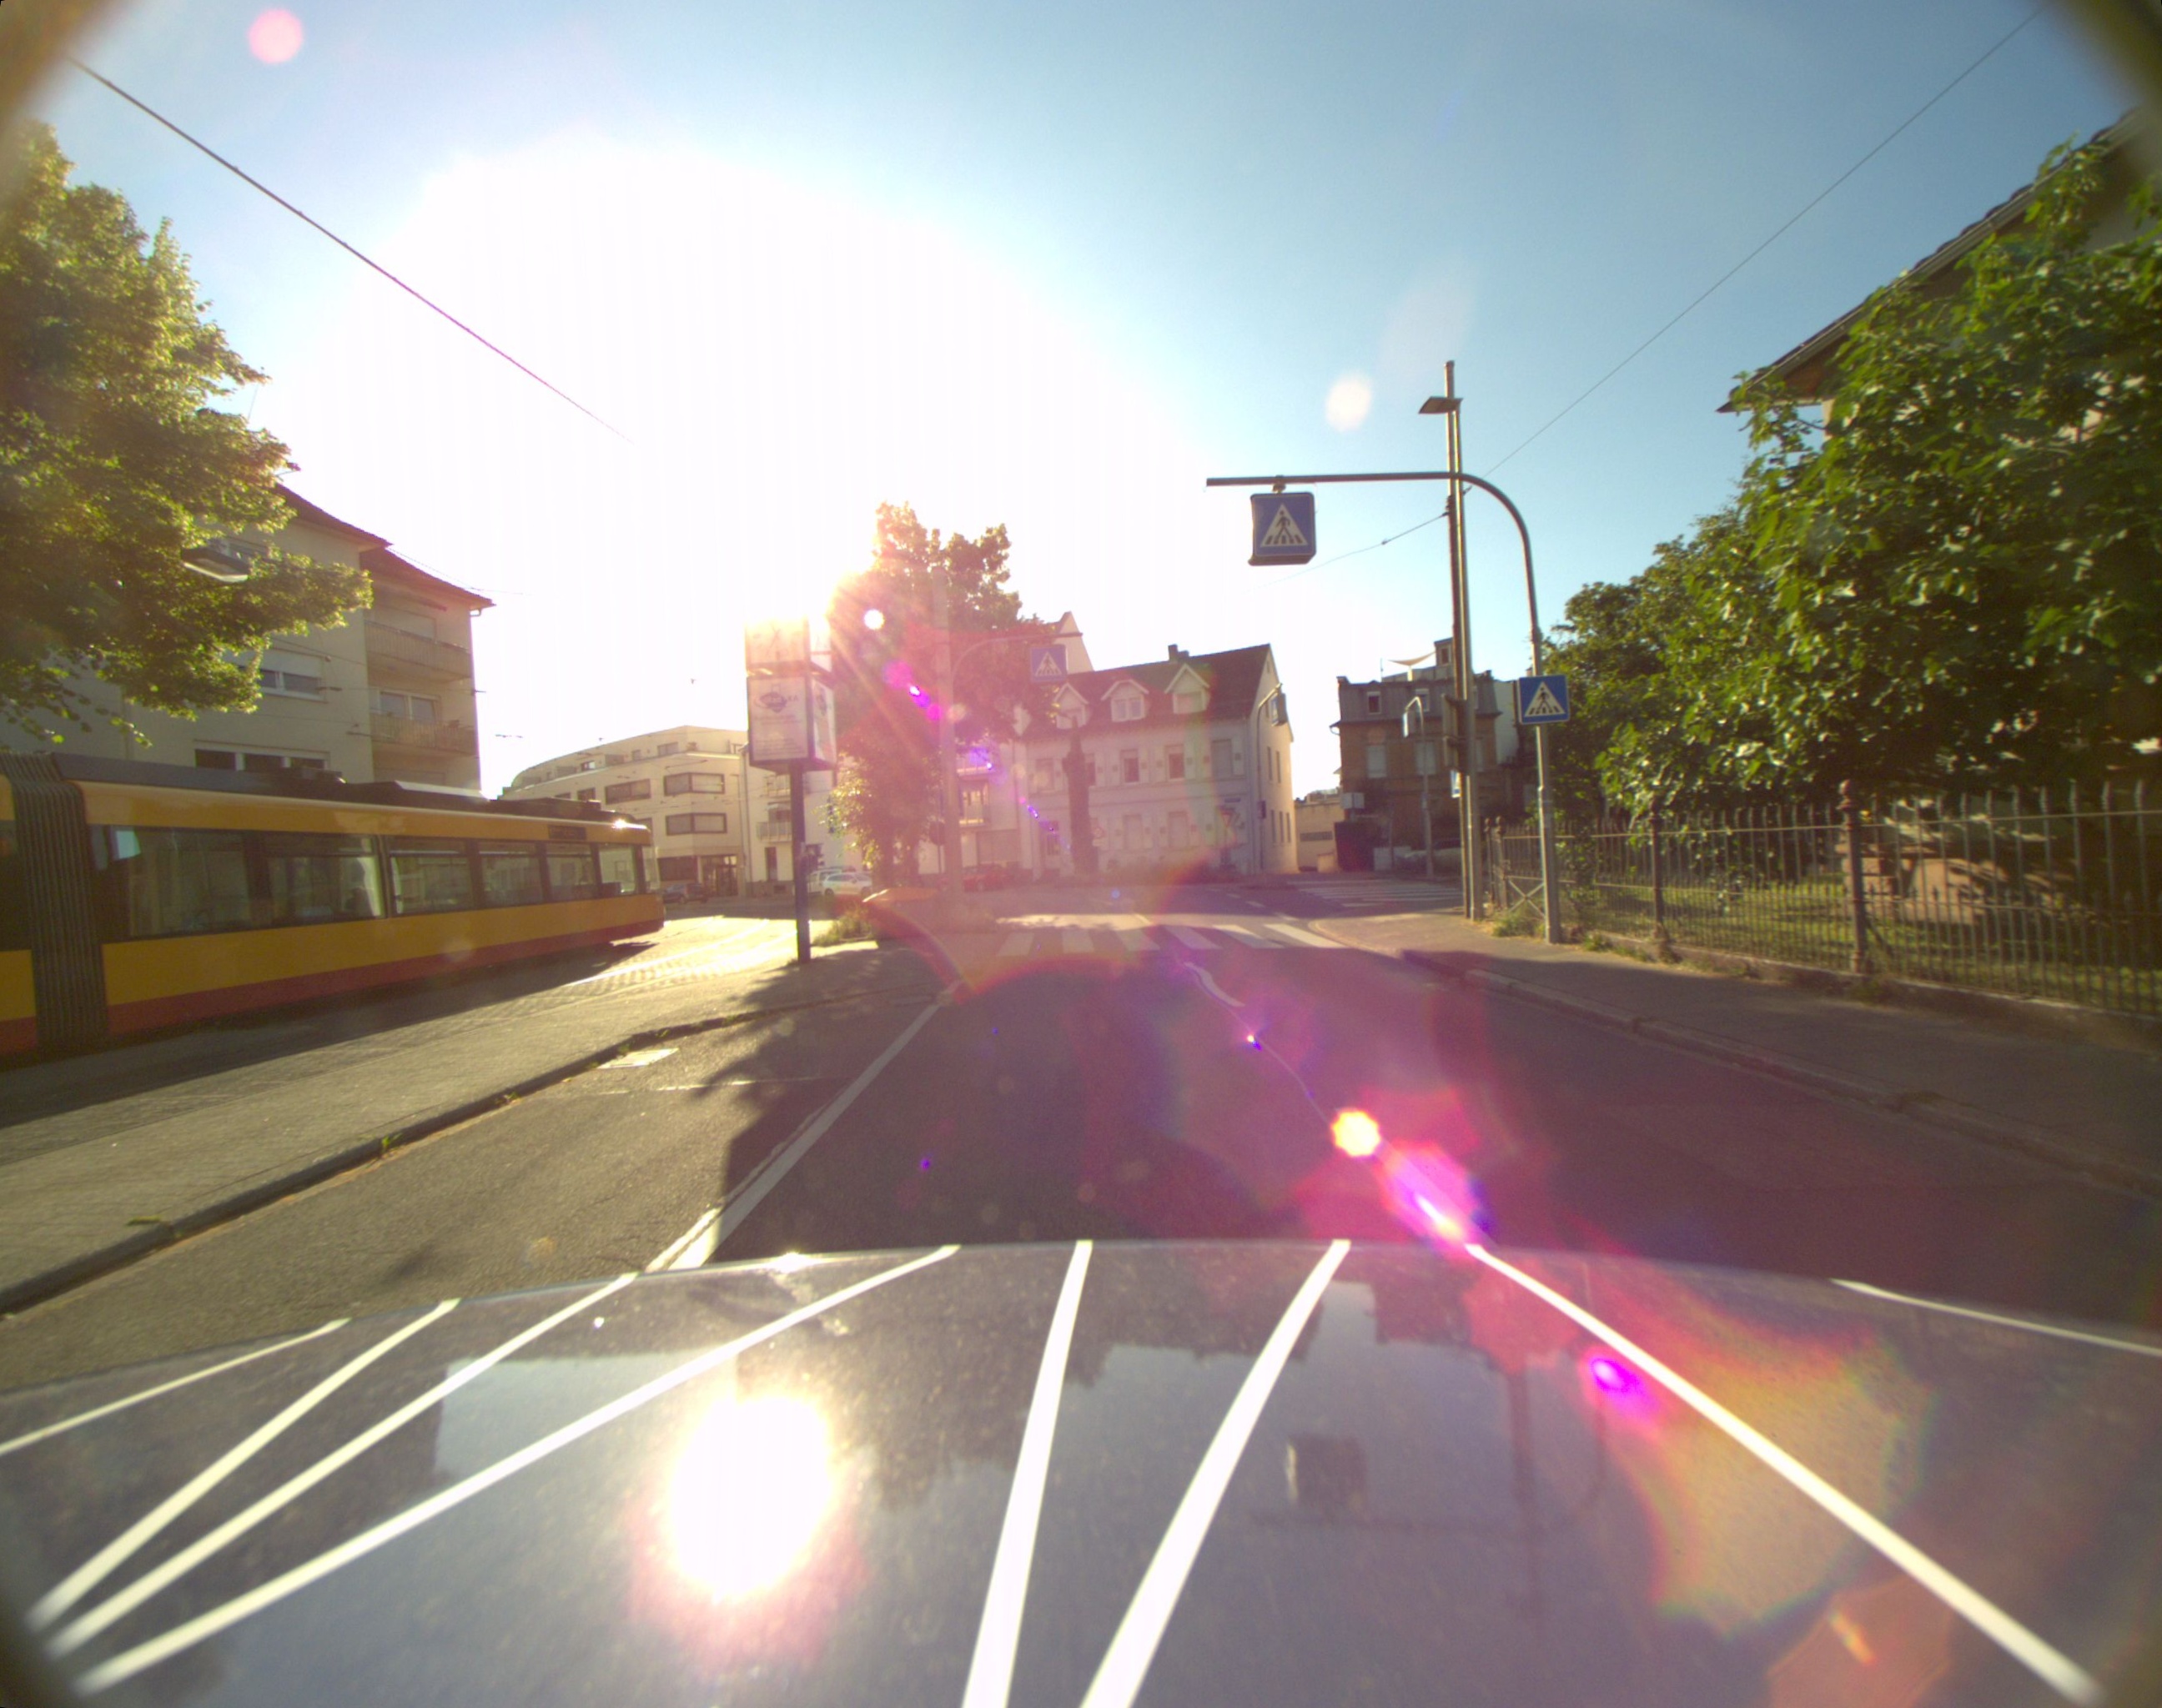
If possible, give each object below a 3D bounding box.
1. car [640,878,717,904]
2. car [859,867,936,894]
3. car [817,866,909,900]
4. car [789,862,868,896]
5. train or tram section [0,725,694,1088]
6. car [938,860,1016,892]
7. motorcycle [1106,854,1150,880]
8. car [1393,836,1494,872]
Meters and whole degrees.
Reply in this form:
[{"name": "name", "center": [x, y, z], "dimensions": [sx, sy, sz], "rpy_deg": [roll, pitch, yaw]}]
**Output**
[{"name": "car", "center": [-26.744, 2.461, 50.443], "dimensions": [4.922, 1.574, 2.003], "rpy_deg": [-2, 0, 28]}, {"name": "car", "center": [-10.909, 1.569, 45.204], "dimensions": [4.116, 1.339, 1.938], "rpy_deg": [-4, 0, 27]}, {"name": "car", "center": [-10.889, 1.456, 37.812], "dimensions": [4.437, 1.453, 2.004], "rpy_deg": [-3, 0, 35]}, {"name": "car", "center": [-15.823, 1.583, 47.609], "dimensions": [4.263, 1.945, 2.003], "rpy_deg": [-2, 0, 20]}, {"name": "train or tram section", "center": [-11.802, 0.576, 13.703], "dimensions": [2.965, 3.401, 13.462], "rpy_deg": [-2, 0, -2]}, {"name": "car", "center": [-5.856, 1.251, 42.693], "dimensions": [4.196, 1.453, 1.610], "rpy_deg": [-5, 0, 32]}, {"name": "motorcycle", "center": [2.395, 0.668, 38.774], "dimensions": [2.104, 1.220, 0.625], "rpy_deg": [-3, 1, 27]}, {"name": "car", "center": [16.872, -0.016, 35.486], "dimensions": [3.879, 1.445, 1.702], "rpy_deg": [-3, 0, 4]}]
